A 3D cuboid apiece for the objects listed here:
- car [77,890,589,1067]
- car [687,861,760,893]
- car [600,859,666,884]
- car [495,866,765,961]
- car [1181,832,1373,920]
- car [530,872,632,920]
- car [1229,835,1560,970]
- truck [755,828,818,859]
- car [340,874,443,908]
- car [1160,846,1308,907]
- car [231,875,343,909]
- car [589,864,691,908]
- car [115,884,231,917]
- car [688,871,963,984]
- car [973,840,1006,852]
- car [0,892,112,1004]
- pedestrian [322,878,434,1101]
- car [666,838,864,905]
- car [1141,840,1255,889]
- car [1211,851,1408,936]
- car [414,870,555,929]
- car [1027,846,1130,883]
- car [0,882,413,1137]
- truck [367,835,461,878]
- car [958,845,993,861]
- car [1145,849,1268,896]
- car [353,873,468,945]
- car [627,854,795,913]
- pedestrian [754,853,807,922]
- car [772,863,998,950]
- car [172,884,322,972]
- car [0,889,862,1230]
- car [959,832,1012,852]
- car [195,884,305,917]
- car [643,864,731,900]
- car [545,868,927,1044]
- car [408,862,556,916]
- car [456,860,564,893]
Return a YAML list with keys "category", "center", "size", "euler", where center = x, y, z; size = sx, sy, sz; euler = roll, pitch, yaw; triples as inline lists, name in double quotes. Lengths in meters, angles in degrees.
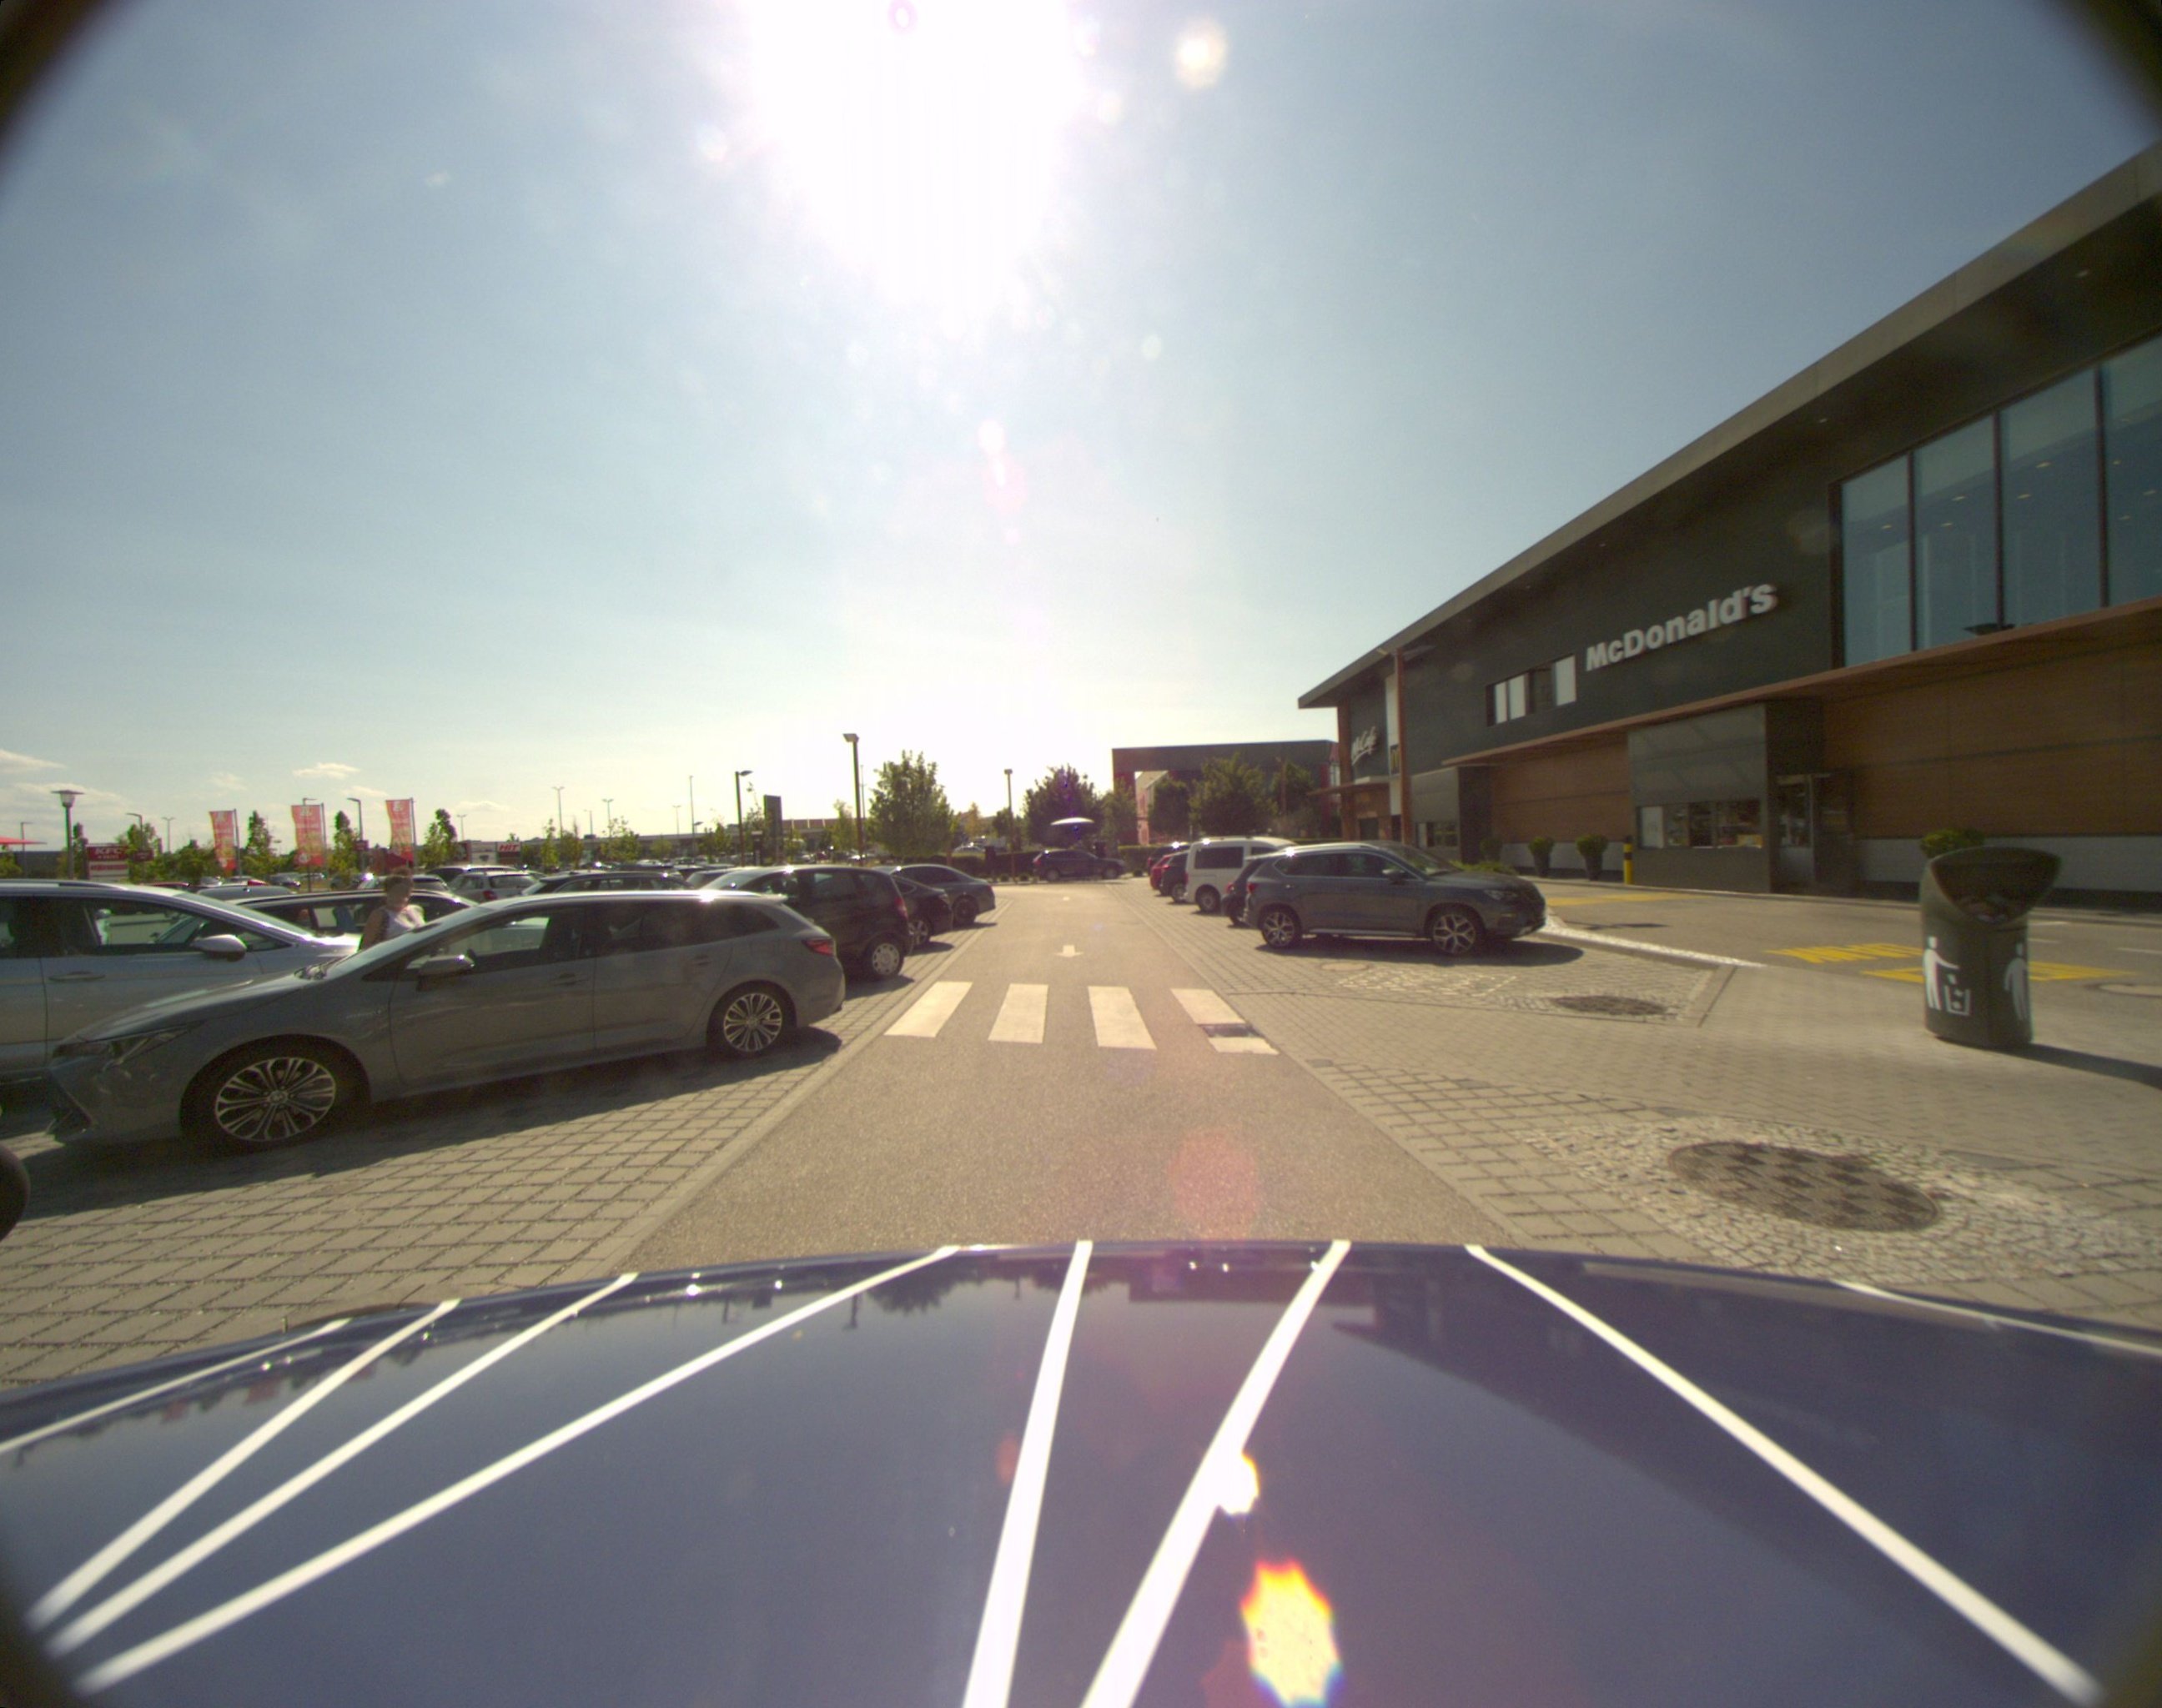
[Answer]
- category: "car"
  center: [-8.621, 1.270, 9.224]
  size: [1.788, 1.400, 4.090]
  euler: [-1, 1, 43]
- category: "car"
  center: [-17.606, 1.100, 37.379]
  size: [3.765, 1.414, 1.917]
  euler: [-1, 1, 42]
- category: "car"
  center: [-39.602, 1.513, 67.190]
  size: [5.012, 2.002, 2.002]
  euler: [-1, 2, 15]
- category: "car"
  center: [-9.236, 1.107, 15.841]
  size: [1.978, 1.502, 4.425]
  euler: [-1, 1, 45]
- category: "car"
  center: [4.724, 0.506, 18.564]
  size: [4.133, 1.910, 1.761]
  euler: [-1, 1, 38]
- category: "car"
  center: [-17.040, 1.366, 25.810]
  size: [4.669, 1.403, 1.716]
  euler: [-1, 1, 42]
- category: "car"
  center: [4.624, 0.701, 11.613]
  size: [4.216, 1.594, 1.794]
  euler: [-4, 2, 44]
- category: "truck"
  center: [-33.178, -1.184, 85.519]
  size: [7.545, 3.333, 2.426]
  euler: [-1, 2, 32]
- category: "car"
  center: [-35.858, 1.903, 39.653]
  size: [1.685, 1.445, 3.756]
  euler: [-2, 1, 7]
- category: "car"
  center: [4.463, 0.639, 22.297]
  size: [3.834, 1.623, 1.761]
  euler: [-1, 1, 33]
- category: "car"
  center: [-41.633, 1.966, 39.957]
  size: [1.685, 1.445, 3.756]
  euler: [-2, 1, 7]
- category: "car"
  center: [-17.345, 1.230, 29.844]
  size: [4.044, 1.547, 1.810]
  euler: [-1, 1, 34]
- category: "car"
  center: [-50.209, 2.522, 42.149]
  size: [1.685, 1.503, 3.756]
  euler: [-2, 1, 7]
- category: "car"
  center: [-4.292, 1.122, 13.183]
  size: [4.083, 1.440, 1.823]
  euler: [-3, 1, -45]
- category: "car"
  center: [-11.477, -1.030, 95.731]
  size: [3.906, 1.334, 1.665]
  euler: [-2, 1, -2]
- category: "car"
  center: [-17.009, 1.424, 12.033]
  size: [4.459, 1.463, 1.918]
  euler: [-1, 1, 39]
- category: "pedestrian"
  center: [-5.810, 1.069, 6.316]
  size: [0.564, 1.703, 0.609]
  euler: [-3, 2, -38]
- category: "car"
  center: [-8.339, 0.405, 20.325]
  size: [1.978, 1.502, 4.425]
  euler: [-1, 1, 45]
- category: "car"
  center: [4.536, 0.393, 29.369]
  size: [4.030, 1.696, 1.677]
  euler: [-2, 1, 21]
- category: "car"
  center: [4.548, 0.751, 15.296]
  size: [3.406, 1.473, 1.571]
  euler: [-2, 1, 37]
- category: "car"
  center: [-17.710, 1.309, 22.523]
  size: [4.341, 1.503, 1.782]
  euler: [-2, 1, 31]
- category: "car"
  center: [-0.161, 0.505, 38.449]
  size: [5.062, 1.620, 1.924]
  euler: [-2, 1, -3]
- category: "car"
  center: [-8.022, 1.149, 5.895]
  size: [1.743, 1.630, 4.075]
  euler: [-1, 1, 44]
- category: "truck"
  center: [-63.701, 0.256, 72.563]
  size: [9.108, 3.844, 3.215]
  euler: [-2, 1, 25]
- category: "car"
  center: [-12.526, -0.156, 90.398]
  size: [3.999, 1.718, 1.893]
  euler: [-2, 1, -5]
- category: "car"
  center: [4.276, 0.635, 25.959]
  size: [3.763, 1.435, 1.678]
  euler: [-2, 1, 27]
- category: "car"
  center: [-16.697, 1.264, 18.859]
  size: [3.989, 1.480, 1.824]
  euler: [-1, 1, 45]
- category: "car"
  center: [-10.492, 0.784, 21.715]
  size: [3.911, 1.418, 1.702]
  euler: [-2, 1, -44]
- category: "pedestrian"
  center: [-8.667, 0.960, 21.939]
  size: [1.027, 1.905, 0.903]
  euler: [-2, 1, 11]
- category: "car"
  center: [-4.261, 1.065, 17.100]
  size: [1.882, 1.502, 4.551]
  euler: [-1, 1, 45]
- category: "car"
  center: [-16.840, 1.396, 15.506]
  size: [3.989, 1.395, 1.824]
  euler: [-1, 1, 45]
- category: "car"
  center: [-4.309, 1.107, 5.910]
  size: [4.672, 1.438, 1.830]
  euler: [-1, 0, -44]
- category: "car"
  center: [-12.383, -1.551, 98.628]
  size: [6.568, 2.231, 2.300]
  euler: [-2, 1, -2]
- category: "car"
  center: [-45.543, 2.509, 41.757]
  size: [1.685, 1.445, 3.756]
  euler: [-2, 1, 7]
- category: "car"
  center: [-17.335, 1.193, 33.382]
  size: [4.075, 1.414, 1.801]
  euler: [-1, 1, 37]
- category: "car"
  center: [-4.212, 1.067, 9.704]
  size: [4.007, 1.584, 1.807]
  euler: [-3, 1, -44]
- category: "car"
  center: [-22.518, 1.245, 28.829]
  size: [2.071, 1.740, 4.366]
  euler: [-2, 1, 0]
- category: "car"
  center: [-28.264, 1.065, 37.819]
  size: [1.886, 1.390, 4.156]
  euler: [-2, 1, 7]
